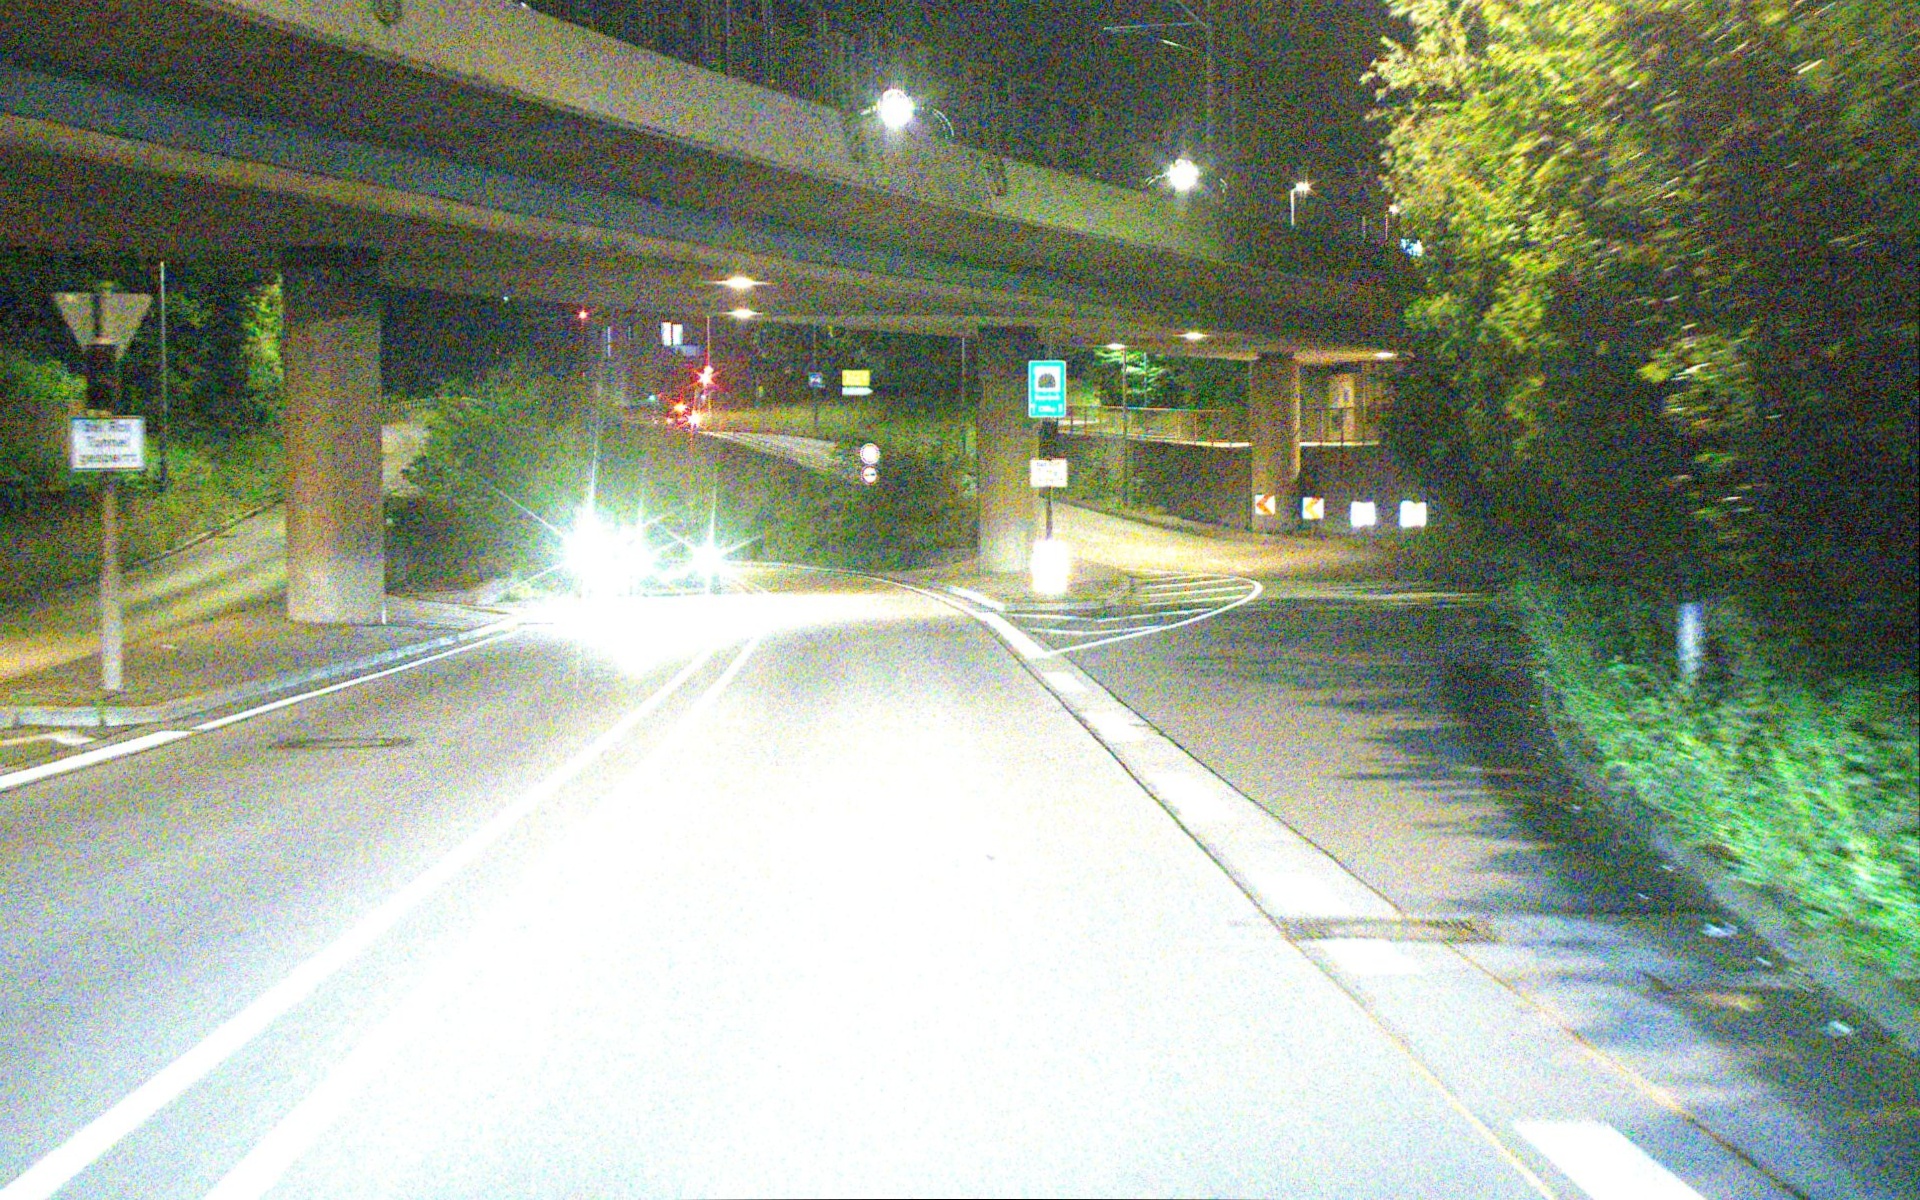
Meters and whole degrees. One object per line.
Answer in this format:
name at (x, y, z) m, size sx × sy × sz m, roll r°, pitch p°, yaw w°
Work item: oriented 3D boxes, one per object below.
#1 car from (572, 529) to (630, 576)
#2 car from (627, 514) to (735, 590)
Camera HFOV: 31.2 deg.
car at (-15.994, -2.090, 152.987) m, size 1.918 × 2.007 × 4.124 m, roll 2°, pitch 0°, yaw -15°
car at (-5.976, -1.027, 74.068) m, size 1.882 × 1.549 × 4.218 m, roll -1°, pitch 1°, yaw 1°
